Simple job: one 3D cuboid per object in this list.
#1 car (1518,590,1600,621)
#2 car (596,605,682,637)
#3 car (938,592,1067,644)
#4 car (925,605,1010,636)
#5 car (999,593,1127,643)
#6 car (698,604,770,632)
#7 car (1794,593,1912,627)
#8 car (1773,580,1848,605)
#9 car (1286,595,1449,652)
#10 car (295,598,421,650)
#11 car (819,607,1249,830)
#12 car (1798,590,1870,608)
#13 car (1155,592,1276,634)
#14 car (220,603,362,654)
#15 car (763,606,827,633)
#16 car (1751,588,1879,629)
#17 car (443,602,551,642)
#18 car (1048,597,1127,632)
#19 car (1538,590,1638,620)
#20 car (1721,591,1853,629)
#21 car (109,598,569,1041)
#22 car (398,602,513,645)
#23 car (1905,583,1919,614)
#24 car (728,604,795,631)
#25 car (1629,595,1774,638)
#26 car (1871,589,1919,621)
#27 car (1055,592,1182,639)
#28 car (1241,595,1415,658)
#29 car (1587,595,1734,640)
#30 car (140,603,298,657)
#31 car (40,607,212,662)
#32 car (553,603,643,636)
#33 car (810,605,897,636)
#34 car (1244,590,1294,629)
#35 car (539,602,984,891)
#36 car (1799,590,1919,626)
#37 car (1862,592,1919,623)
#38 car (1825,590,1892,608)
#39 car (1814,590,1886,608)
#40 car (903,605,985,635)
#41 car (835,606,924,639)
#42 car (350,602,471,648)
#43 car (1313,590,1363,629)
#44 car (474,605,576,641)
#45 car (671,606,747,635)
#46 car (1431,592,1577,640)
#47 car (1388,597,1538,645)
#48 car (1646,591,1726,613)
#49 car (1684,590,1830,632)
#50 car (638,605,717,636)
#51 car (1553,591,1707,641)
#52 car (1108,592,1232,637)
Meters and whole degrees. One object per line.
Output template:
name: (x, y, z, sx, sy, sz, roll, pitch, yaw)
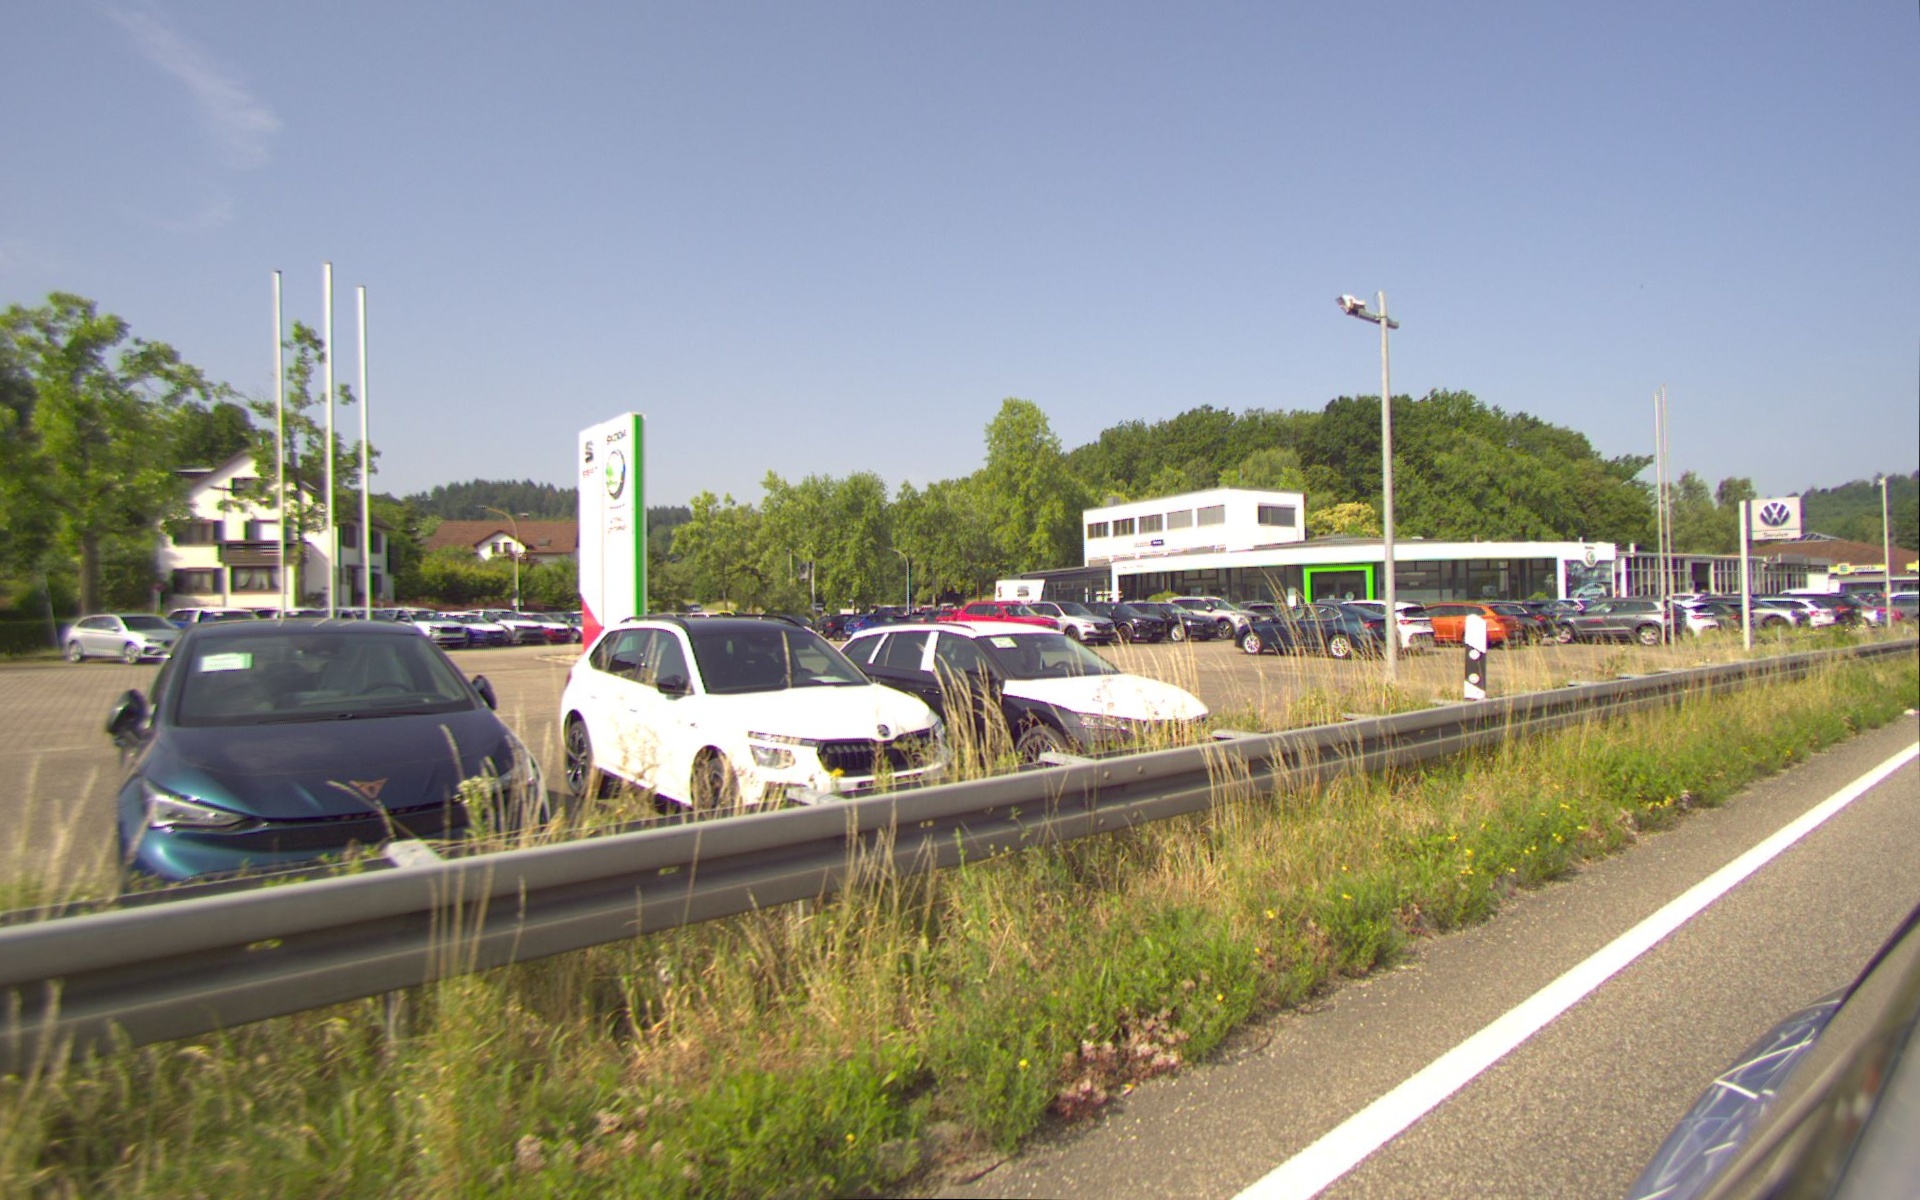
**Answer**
car: (31.846, 0.258, 53.950, 1.756, 1.584, 4.357, 0, 1, 0)
car: (-17.344, 1.086, 54.646, 4.710, 1.565, 1.758, 1, 1, 30)
car: (1.354, 0.556, 34.332, 1.895, 1.584, 4.751, 0, 1, -35)
car: (0.432, 1.095, 55.516, 4.531, 1.565, 2.000, -1, 1, -42)
car: (3.577, 0.572, 35.965, 1.895, 1.584, 4.751, 0, 1, -35)
car: (-13.921, 1.096, 62.308, 4.725, 1.565, 1.753, 1, 1, 38)
car: (40.683, 0.428, 46.199, 1.632, 1.477, 3.746, 0, 1, -32)
car: (69.322, -0.658, 82.556, 1.756, 1.949, 4.327, 0, 1, -32)
car: (11.895, 0.637, 29.755, 1.791, 1.535, 4.103, 0, 0, -37)
car: (-22.620, 0.848, 38.007, 4.707, 1.802, 1.913, 1, 1, 28)
car: (0.483, 0.899, 9.676, 1.701, 1.509, 4.169, 0, 2, -40)
car: (74.200, -0.124, 85.980, 1.755, 1.483, 4.328, 0, 1, -31)
car: (10.418, 0.478, 41.574, 1.895, 1.584, 4.751, 0, 1, -35)
car: (-23.455, 0.955, 35.469, 4.697, 1.608, 1.917, 1, 1, 23)
car: (-10.933, 1.259, 66.784, 4.738, 1.565, 1.748, 1, 1, 45)
car: (37.490, 0.323, 44.471, 1.803, 1.684, 3.896, 0, 1, -29)
car: (-20.874, 0.940, 45.600, 4.704, 1.654, 1.914, 1, 1, 27)
car: (6.303, 0.672, 49.661, 1.990, 1.565, 4.553, 1, 1, 34)
car: (34.197, 0.250, 55.285, 1.753, 1.507, 4.731, 0, 1, -15)
car: (35.288, 0.379, 43.297, 1.688, 1.504, 4.054, 0, 1, -29)
car: (-3.879, 0.824, 5.978, 1.710, 1.564, 4.169, 0, 2, -40)
car: (-21.421, 0.970, 42.943, 4.702, 1.654, 1.915, 1, 1, 25)
car: (52.126, -0.086, 52.601, 1.882, 1.652, 4.005, 0, 0, -28)
car: (-12.715, 1.111, 64.688, 4.731, 1.565, 1.750, 1, 1, 41)
car: (27.381, 0.574, 37.466, 1.697, 1.513, 4.001, 0, 0, -34)
car: (49.012, 0.244, 51.206, 1.883, 1.652, 4.003, 0, 0, -31)
car: (5.812, 0.529, 37.684, 1.895, 1.584, 4.751, 0, 1, -35)
car: (10.016, 0.655, 27.752, 1.793, 1.535, 4.163, 0, 1, -41)
car: (25.127, 0.591, 36.394, 1.757, 1.513, 3.999, 0, 0, -36)
car: (-24.305, 0.930, 33.219, 4.691, 1.608, 1.920, 0, 1, 20)
car: (-25.184, 1.001, 30.565, 4.691, 1.477, 1.920, 0, 1, 20)
car: (-18.747, 0.987, 52.366, 4.707, 1.565, 1.759, 1, 1, 28)
car: (-5.812, 1.096, 55.345, 4.377, 1.565, 1.840, -1, 1, -34)
car: (13.888, 0.382, 45.362, 1.907, 1.584, 4.721, 0, 1, 20)
car: (-1.825, 0.866, 8.121, 1.740, 1.575, 4.169, 0, 2, -40)
car: (42.623, 0.348, 47.926, 1.746, 1.571, 4.099, 0, 1, -32)
car: (47.000, 0.351, 49.604, 1.711, 1.477, 3.853, 0, 0, -31)
car: (78.675, -0.116, 88.664, 1.755, 1.483, 4.004, 0, 1, -31)
car: (76.653, -0.104, 87.228, 1.755, 1.483, 4.328, 0, 1, -31)
car: (-0.899, 1.090, 57.598, 4.377, 1.565, 1.840, -1, 1, -34)
car: (-4.196, 1.143, 53.081, 4.379, 1.565, 1.839, -1, 1, -36)
car: (-22.032, 0.956, 40.564, 4.703, 1.654, 1.915, 1, 1, 26)
car: (16.526, 0.380, 44.376, 1.907, 1.584, 4.721, 0, 1, 20)
car: (-20.601, 1.044, 47.877, 4.701, 1.565, 1.762, 1, 1, 25)
car: (-14.901, 1.177, 59.990, 4.723, 1.565, 1.754, 1, 1, 36)
car: (18.487, 0.502, 34.525, 1.808, 1.505, 3.997, 0, 0, -37)
car: (16.251, 0.632, 32.830, 1.791, 1.464, 3.997, 0, 0, -37)
car: (51.770, 0.094, 72.239, 1.756, 1.483, 4.325, 0, 1, -34)
car: (32.941, 0.407, 41.926, 1.820, 1.620, 4.460, 0, 1, -37)
car: (-16.102, 1.129, 57.665, 4.721, 1.565, 1.817, 1, 1, 35)
car: (23.046, 0.513, 34.926, 1.760, 1.630, 4.085, 0, 0, -39)
car: (8.150, 0.512, 39.711, 1.895, 1.584, 4.751, 0, 1, -35)
